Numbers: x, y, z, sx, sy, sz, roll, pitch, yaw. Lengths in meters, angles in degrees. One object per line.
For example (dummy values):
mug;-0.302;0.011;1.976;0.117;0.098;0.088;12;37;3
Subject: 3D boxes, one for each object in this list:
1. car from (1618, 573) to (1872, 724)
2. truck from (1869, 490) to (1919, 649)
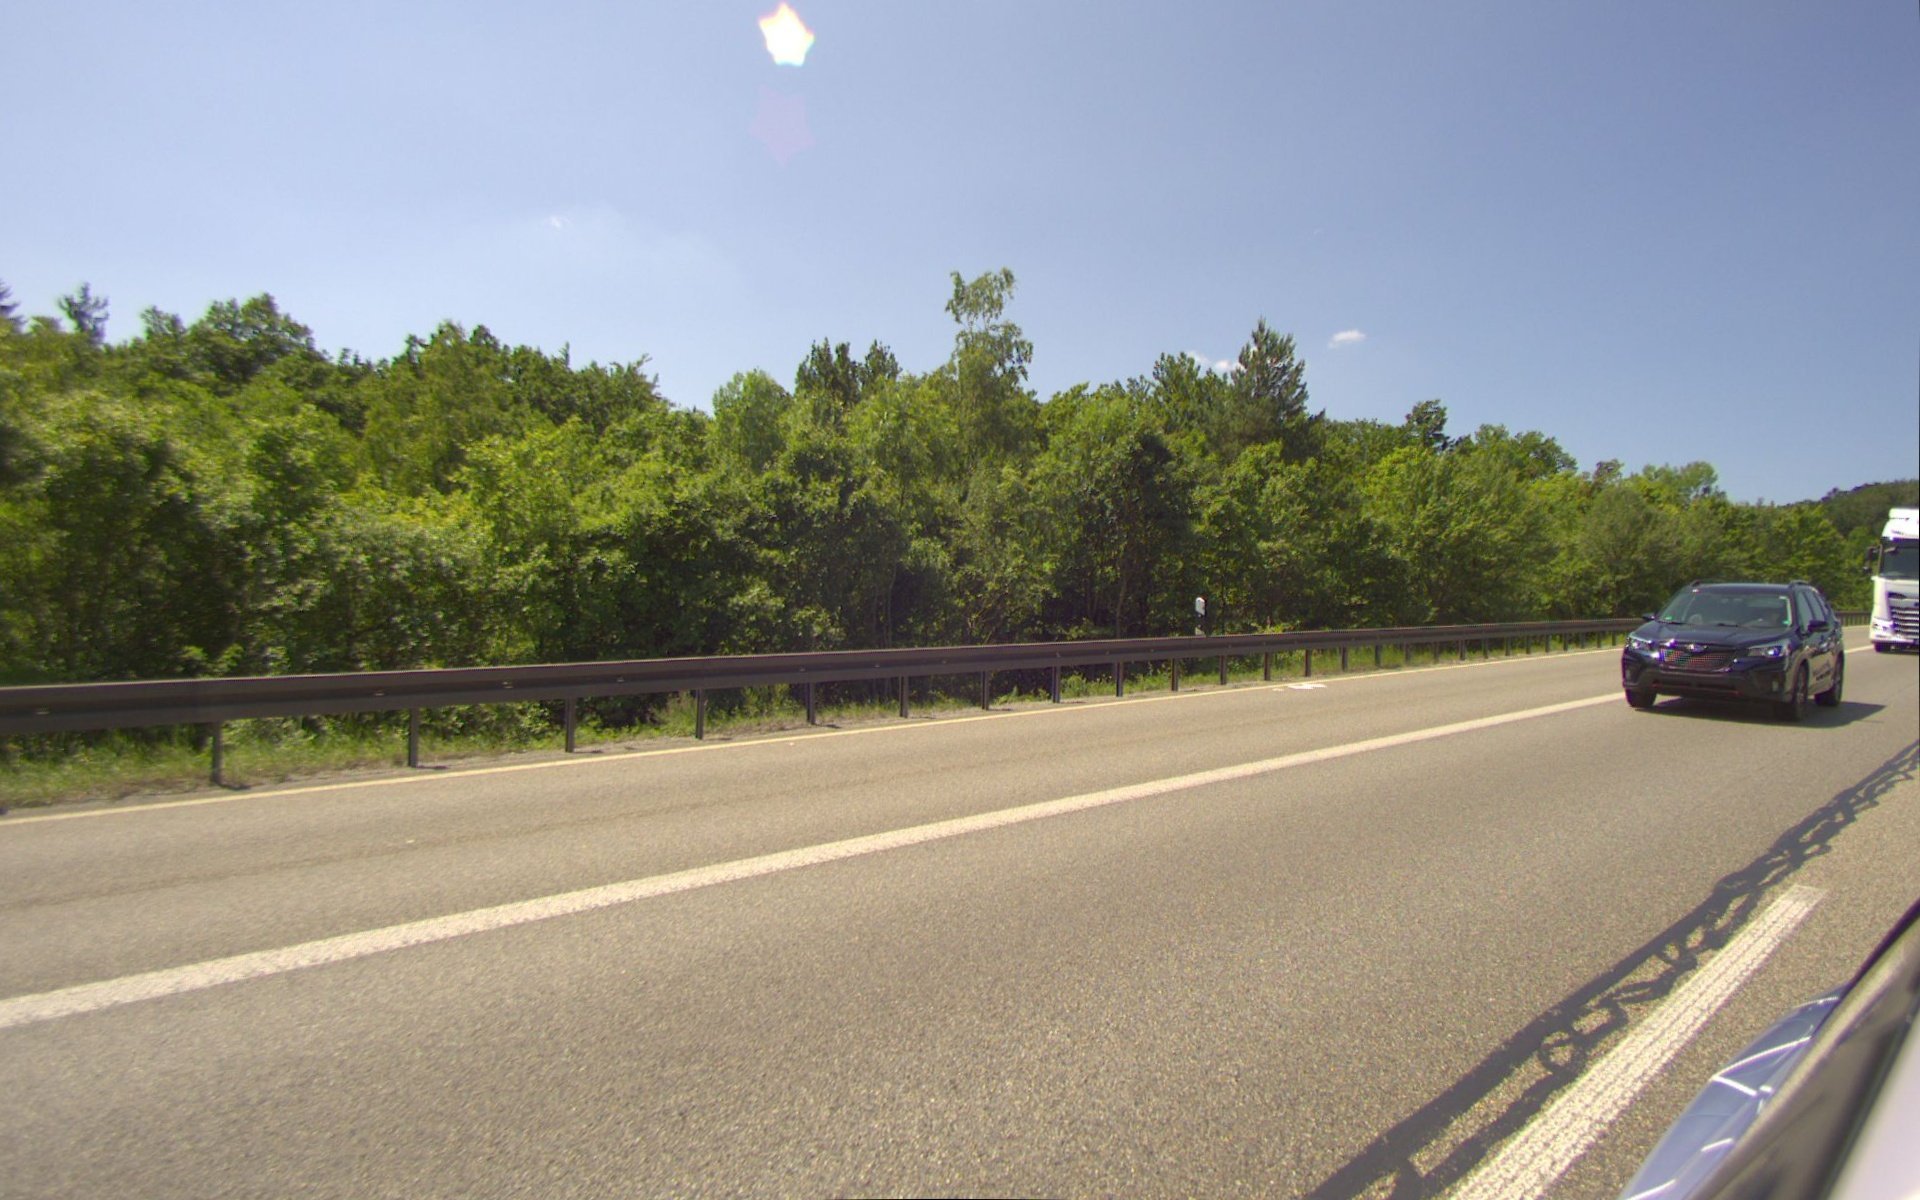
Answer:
car;10.609;0.516;13.584;4.129;1.688;1.816;-1;3;-40
truck;31.824;-0.780;31.730;15.981;4.220;2.789;0;2;-41
